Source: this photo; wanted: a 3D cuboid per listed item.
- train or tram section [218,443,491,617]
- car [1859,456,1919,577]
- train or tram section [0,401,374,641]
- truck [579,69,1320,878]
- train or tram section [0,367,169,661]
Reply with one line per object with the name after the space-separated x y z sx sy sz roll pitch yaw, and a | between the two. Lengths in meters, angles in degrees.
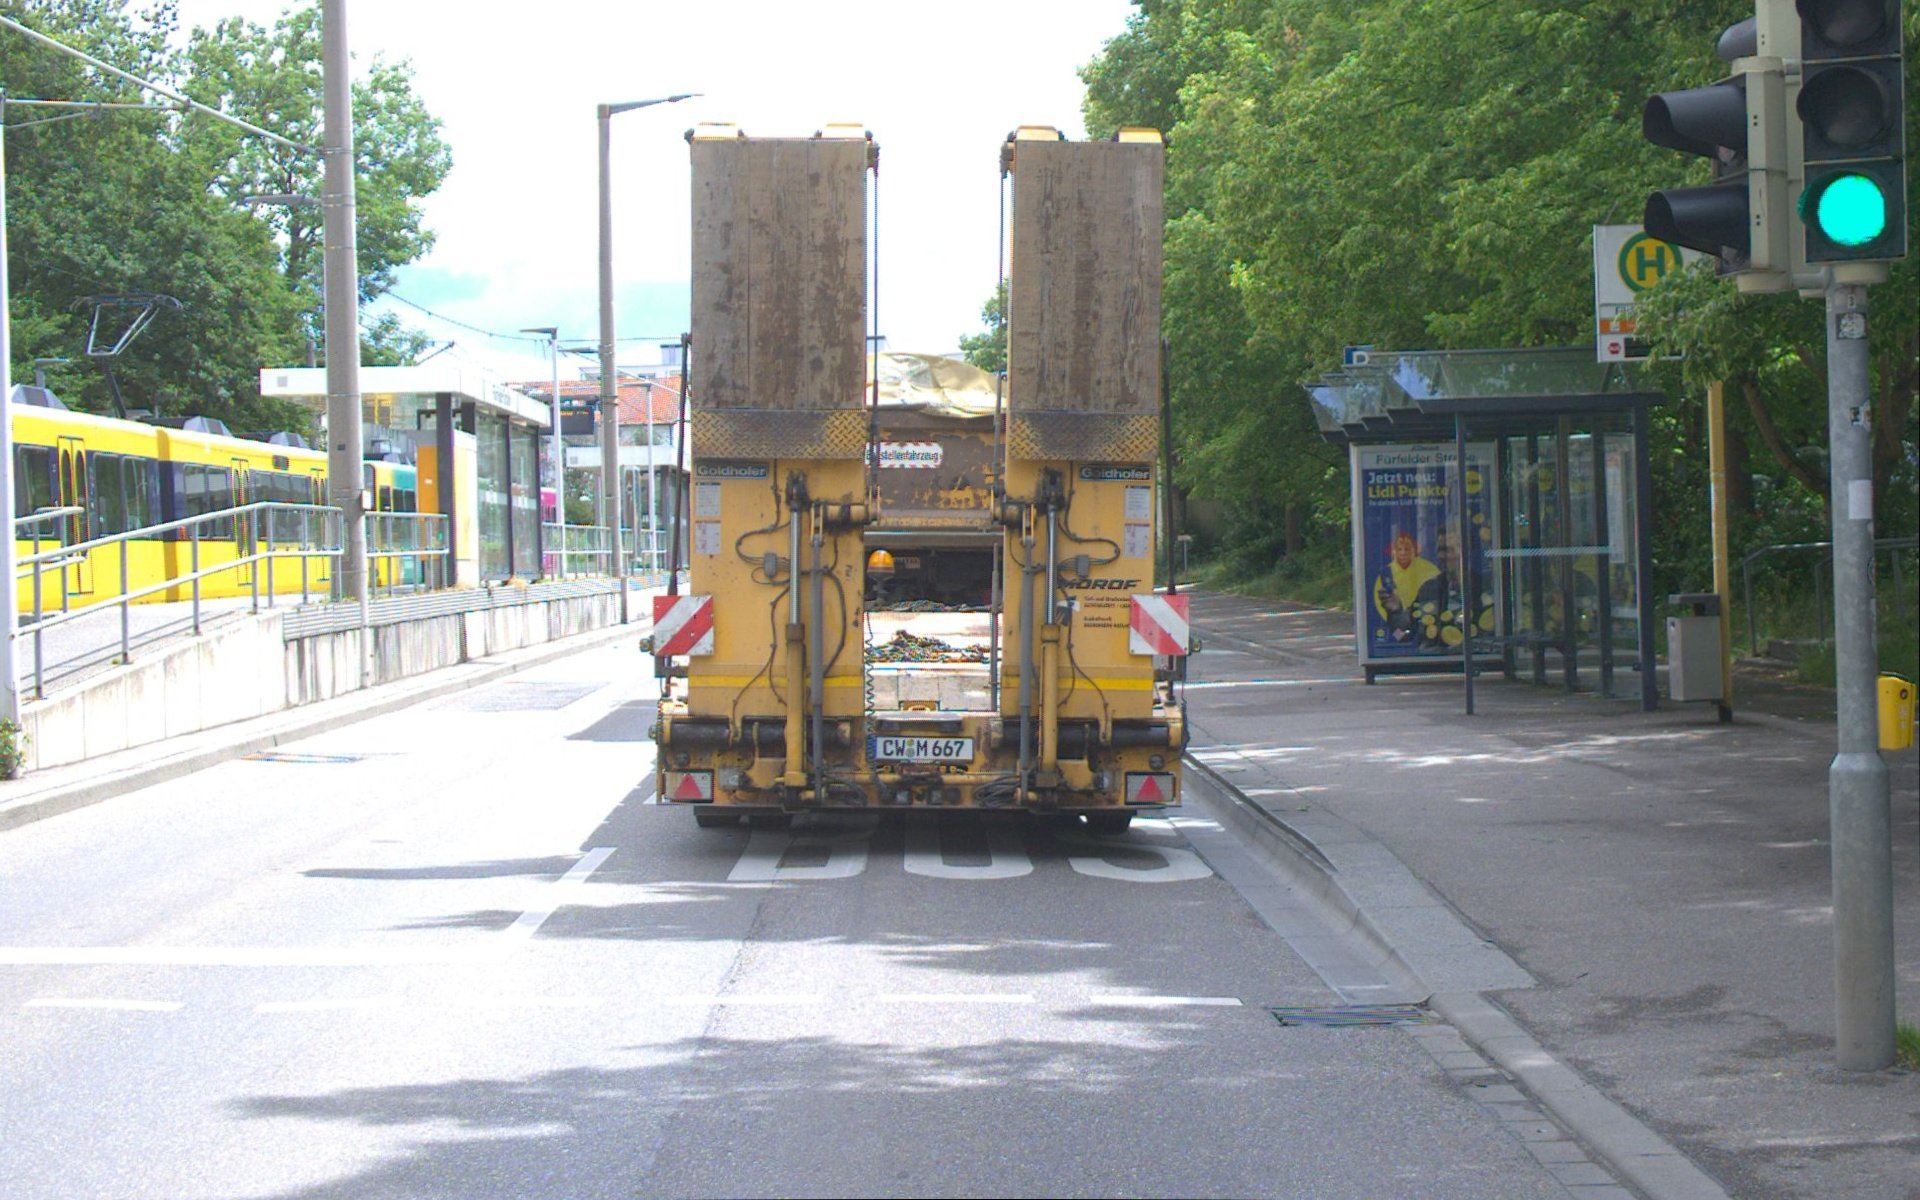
-13.405 -1.522 78.283 3.108 3.453 19.200 0 1 -1 | train or tram section
14.006 -1.158 47.594 1.846 1.656 4.724 -1 1 0 | car
-13.140 -1.269 59.181 3.108 3.453 18.998 0 1 -1 | train or tram section
-0.414 -0.693 22.940 3.402 3.719 13.740 -1 1 -3 | truck
-12.853 -1.019 40.272 3.108 3.453 18.827 0 1 -1 | train or tram section
